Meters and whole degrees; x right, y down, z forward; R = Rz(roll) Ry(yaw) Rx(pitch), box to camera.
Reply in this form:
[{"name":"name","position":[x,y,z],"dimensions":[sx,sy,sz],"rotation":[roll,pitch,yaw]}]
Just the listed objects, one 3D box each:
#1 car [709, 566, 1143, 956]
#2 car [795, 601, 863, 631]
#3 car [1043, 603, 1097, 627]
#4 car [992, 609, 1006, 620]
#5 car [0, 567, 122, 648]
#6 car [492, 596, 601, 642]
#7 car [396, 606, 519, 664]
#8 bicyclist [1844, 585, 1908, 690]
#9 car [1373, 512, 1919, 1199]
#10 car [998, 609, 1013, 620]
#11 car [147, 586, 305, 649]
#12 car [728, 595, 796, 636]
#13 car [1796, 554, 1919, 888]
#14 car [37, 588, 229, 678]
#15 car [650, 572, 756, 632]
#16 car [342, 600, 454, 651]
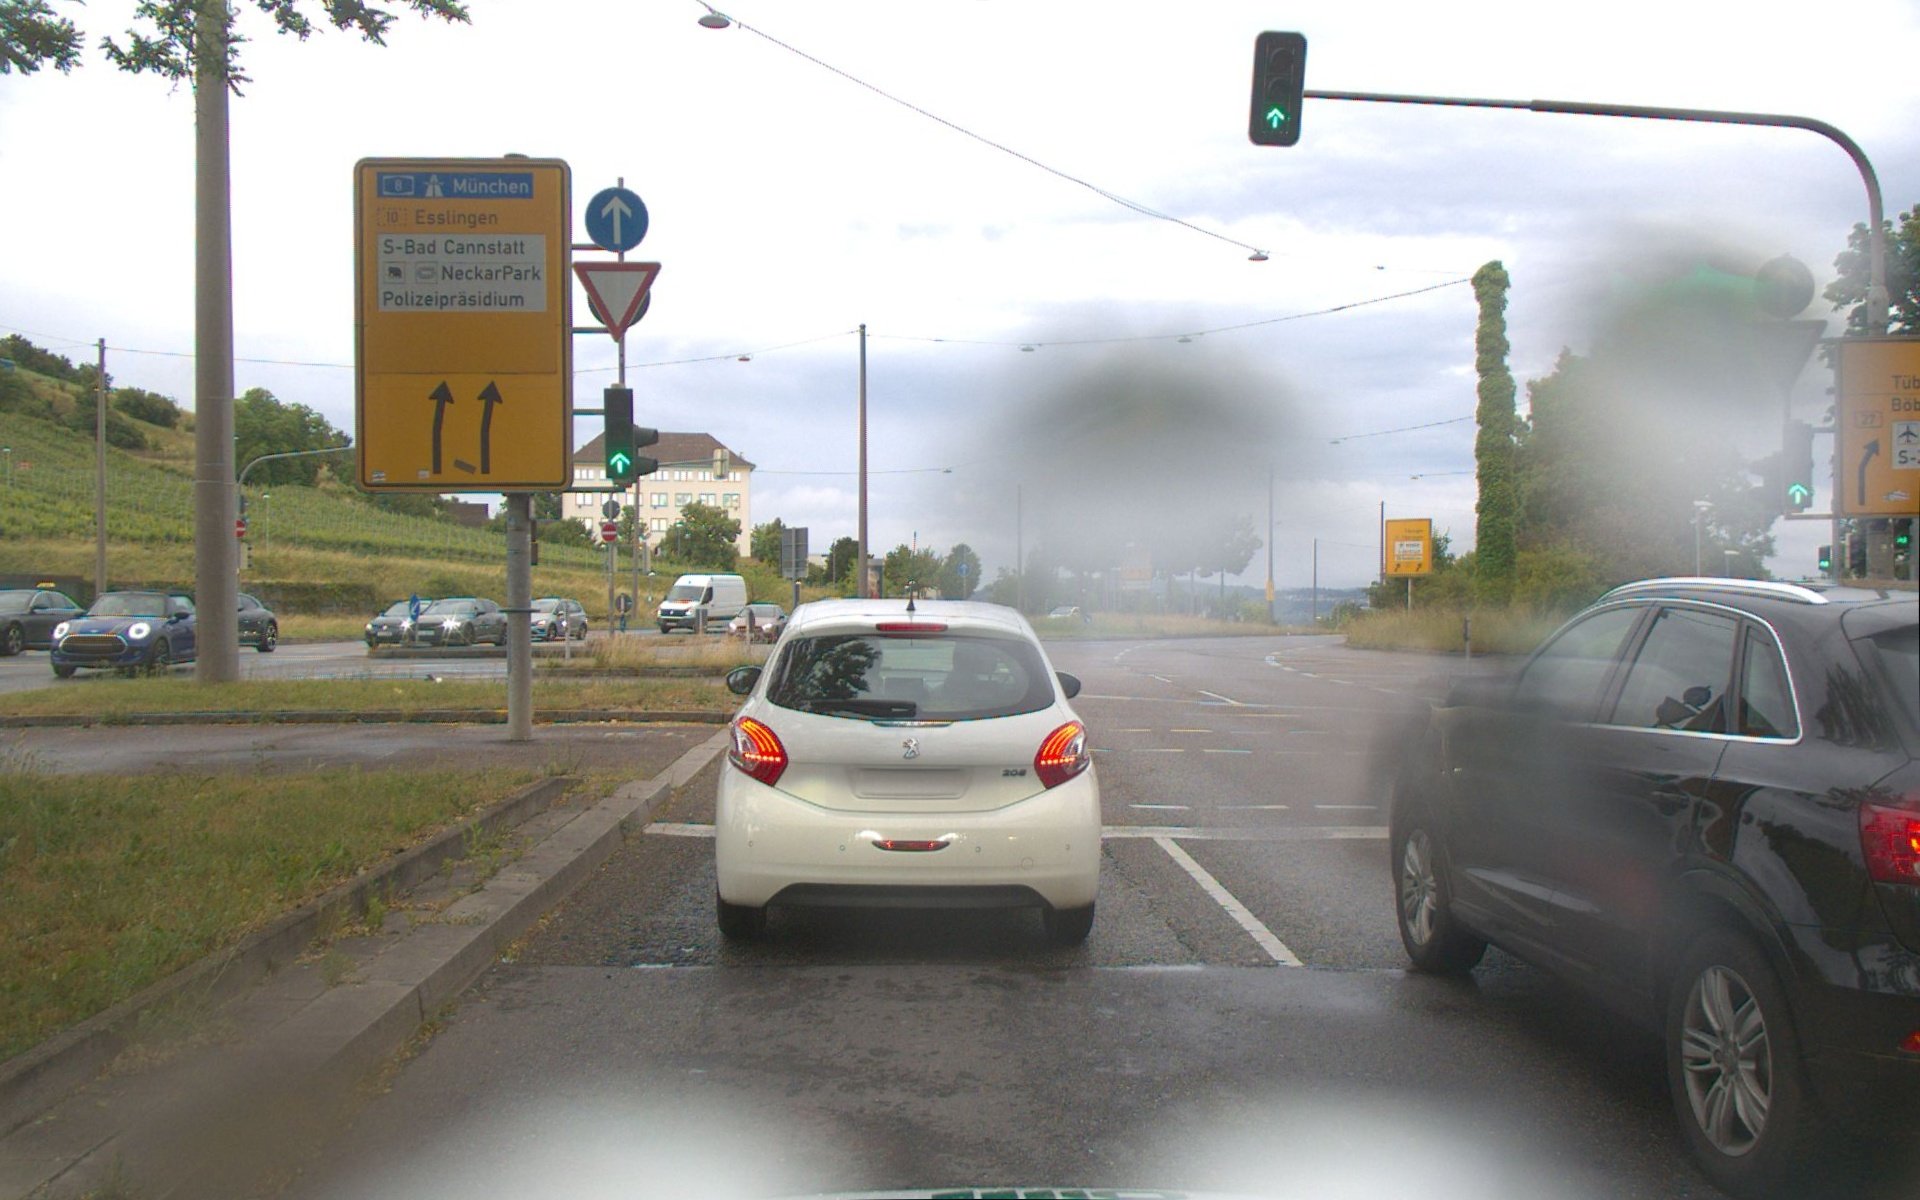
[{"name":"car","position":[-0.190,0.648,8.485],"dimensions":[1.683,1.515,3.998],"rotation":[1,0,-2]},{"name":"car","position":[-7.083,0.880,89.600],"dimensions":[1.953,1.539,4.231],"rotation":[2,-1,22]},{"name":"car","position":[7.418,1.016,110.950],"dimensions":[1.721,1.539,3.984],"rotation":[1,-1,36]},{"name":"car","position":[5.767,2.162,244.720],"dimensions":[1.804,1.512,3.997],"rotation":[0,0,-3]},{"name":"car","position":[-20.267,0.148,35.676],"dimensions":[1.791,1.652,4.568],"rotation":[2,-1,3]},{"name":"car","position":[-15.600,0.731,62.570],"dimensions":[1.952,1.603,4.196],"rotation":[2,-1,20]},{"name":"car","position":[-14.389,0.977,47.663],"dimensions":[1.862,1.515,4.893],"rotation":[1,0,2]},{"name":"bicyclist","position":[14.605,0.596,26.385],"dimensions":[0.793,1.612,1.022],"rotation":[1,-1,26]},{"name":"car","position":[2.860,0.670,5.439],"dimensions":[1.846,1.623,4.112],"rotation":[2,-1,-2]},{"name":"car","position":[6.547,2.119,236.355],"dimensions":[1.804,1.512,3.997],"rotation":[0,0,-3]},{"name":"car","position":[-17.370,0.374,39.400],"dimensions":[1.787,1.386,4.667],"rotation":[0,1,-1]},{"name":"car","position":[-7.327,0.588,61.490],"dimensions":[1.738,1.450,4.376],"rotation":[0,-1,4]},{"name":"car","position":[5.860,0.644,7.338],"dimensions":[1.828,1.703,4.563],"rotation":[1,1,-2]},{"name":"car","position":[-14.353,0.582,28.947],"dimensions":[1.752,1.420,3.875],"rotation":[2,-1,-7]},{"name":"car","position":[-11.875,0.132,76.948],"dimensions":[1.953,2.604,6.169],"rotation":[1,-1,21]},{"name":"car","position":[-17.687,0.773,52.276],"dimensions":[1.786,1.498,4.670],"rotation":[0,1,2]}]
